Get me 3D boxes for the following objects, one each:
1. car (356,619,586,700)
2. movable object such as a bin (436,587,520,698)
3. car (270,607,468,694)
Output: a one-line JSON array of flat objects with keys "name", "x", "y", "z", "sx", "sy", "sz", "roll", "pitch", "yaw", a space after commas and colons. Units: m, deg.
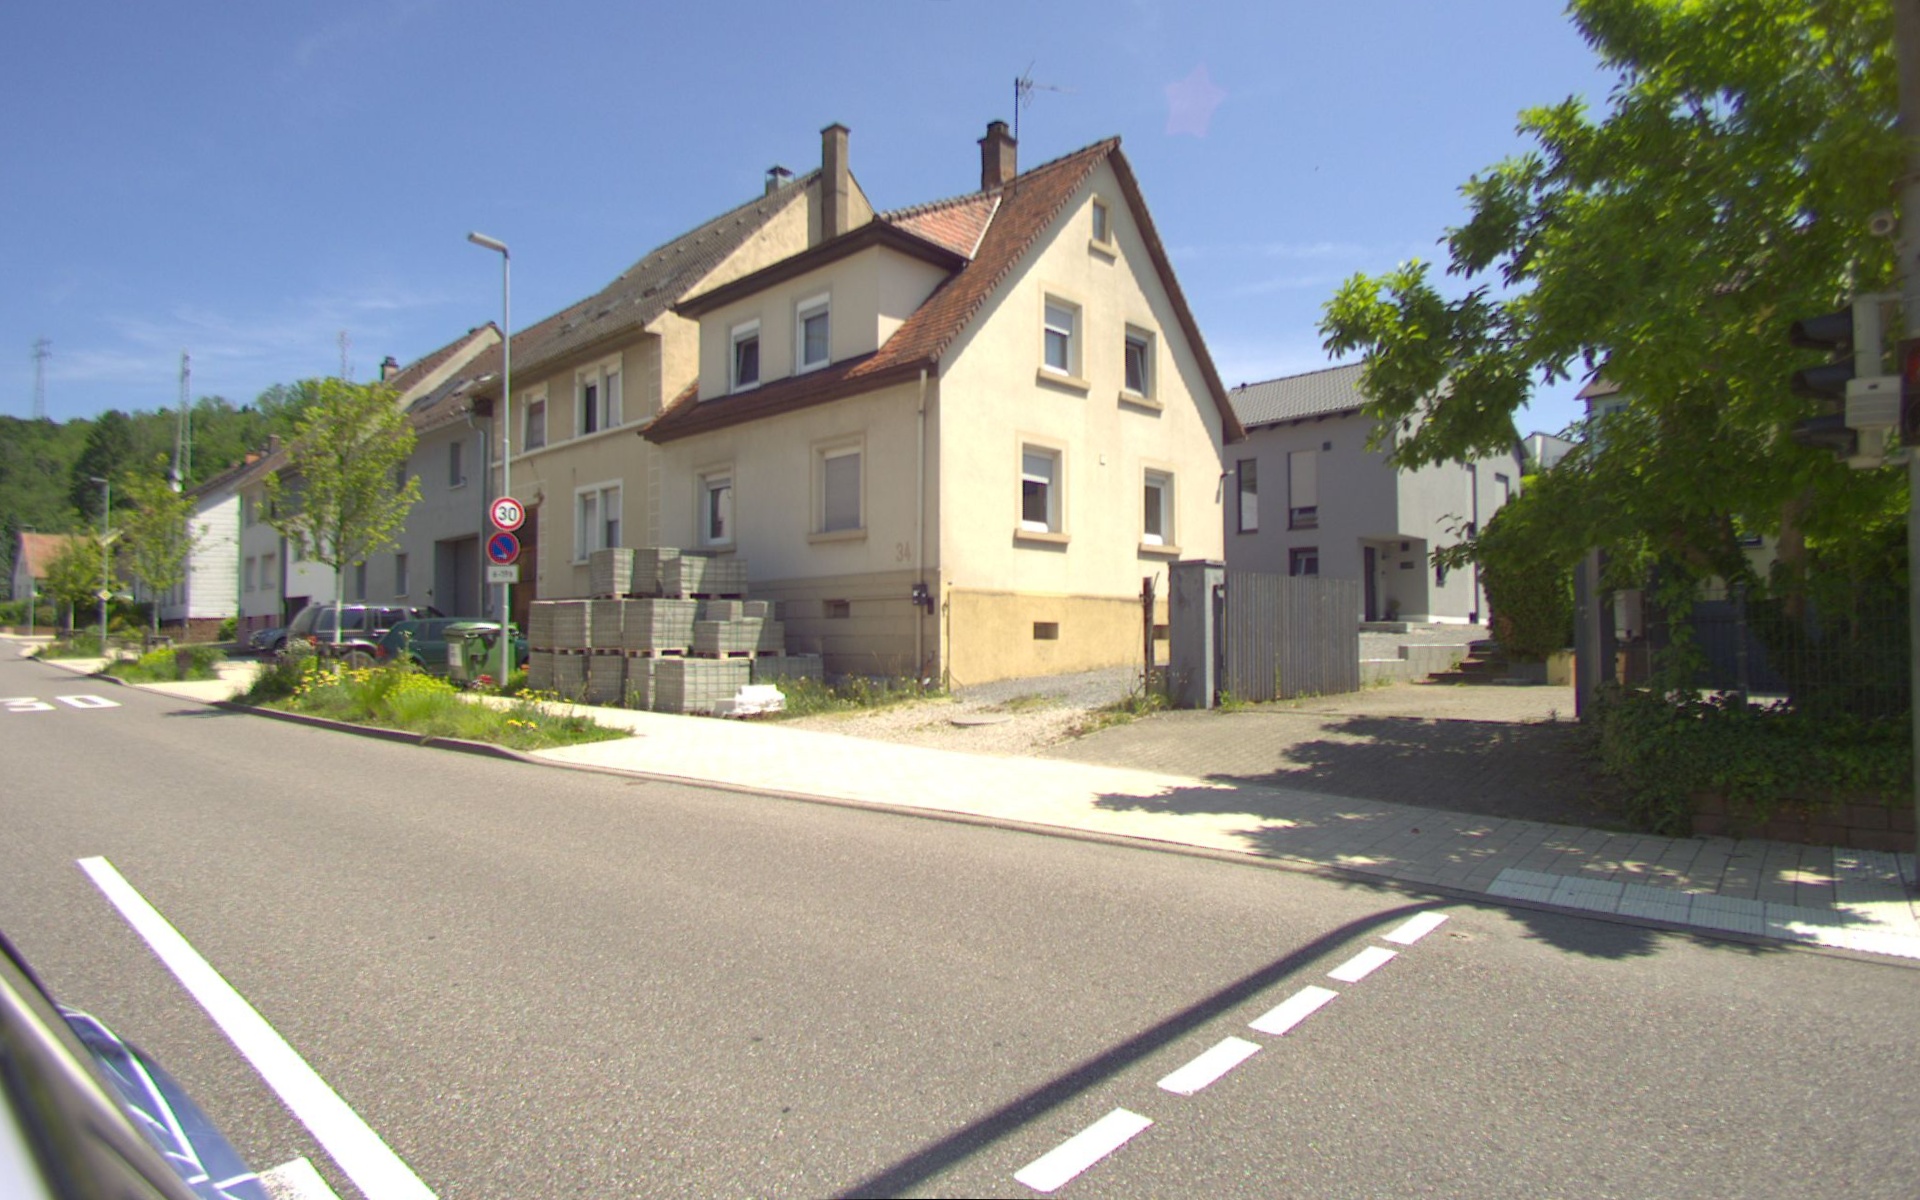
[{"name": "car", "x": -10.003, "y": 1.185, "z": 20.980, "sx": 3.986, "sy": 1.511, "sz": 1.707, "roll": 0, "pitch": 0, "yaw": -9}, {"name": "movable object such as a bin", "x": -9.216, "y": 0.777, "z": 19.345, "sx": 1.323, "sy": 2.029, "sz": 1.048, "roll": -1, "pitch": -1, "yaw": 42}, {"name": "car", "x": -13.549, "y": 1.079, "z": 23.336, "sx": 1.847, "sy": 1.804, "sz": 3.559, "roll": -1, "pitch": 0, "yaw": 41}]
